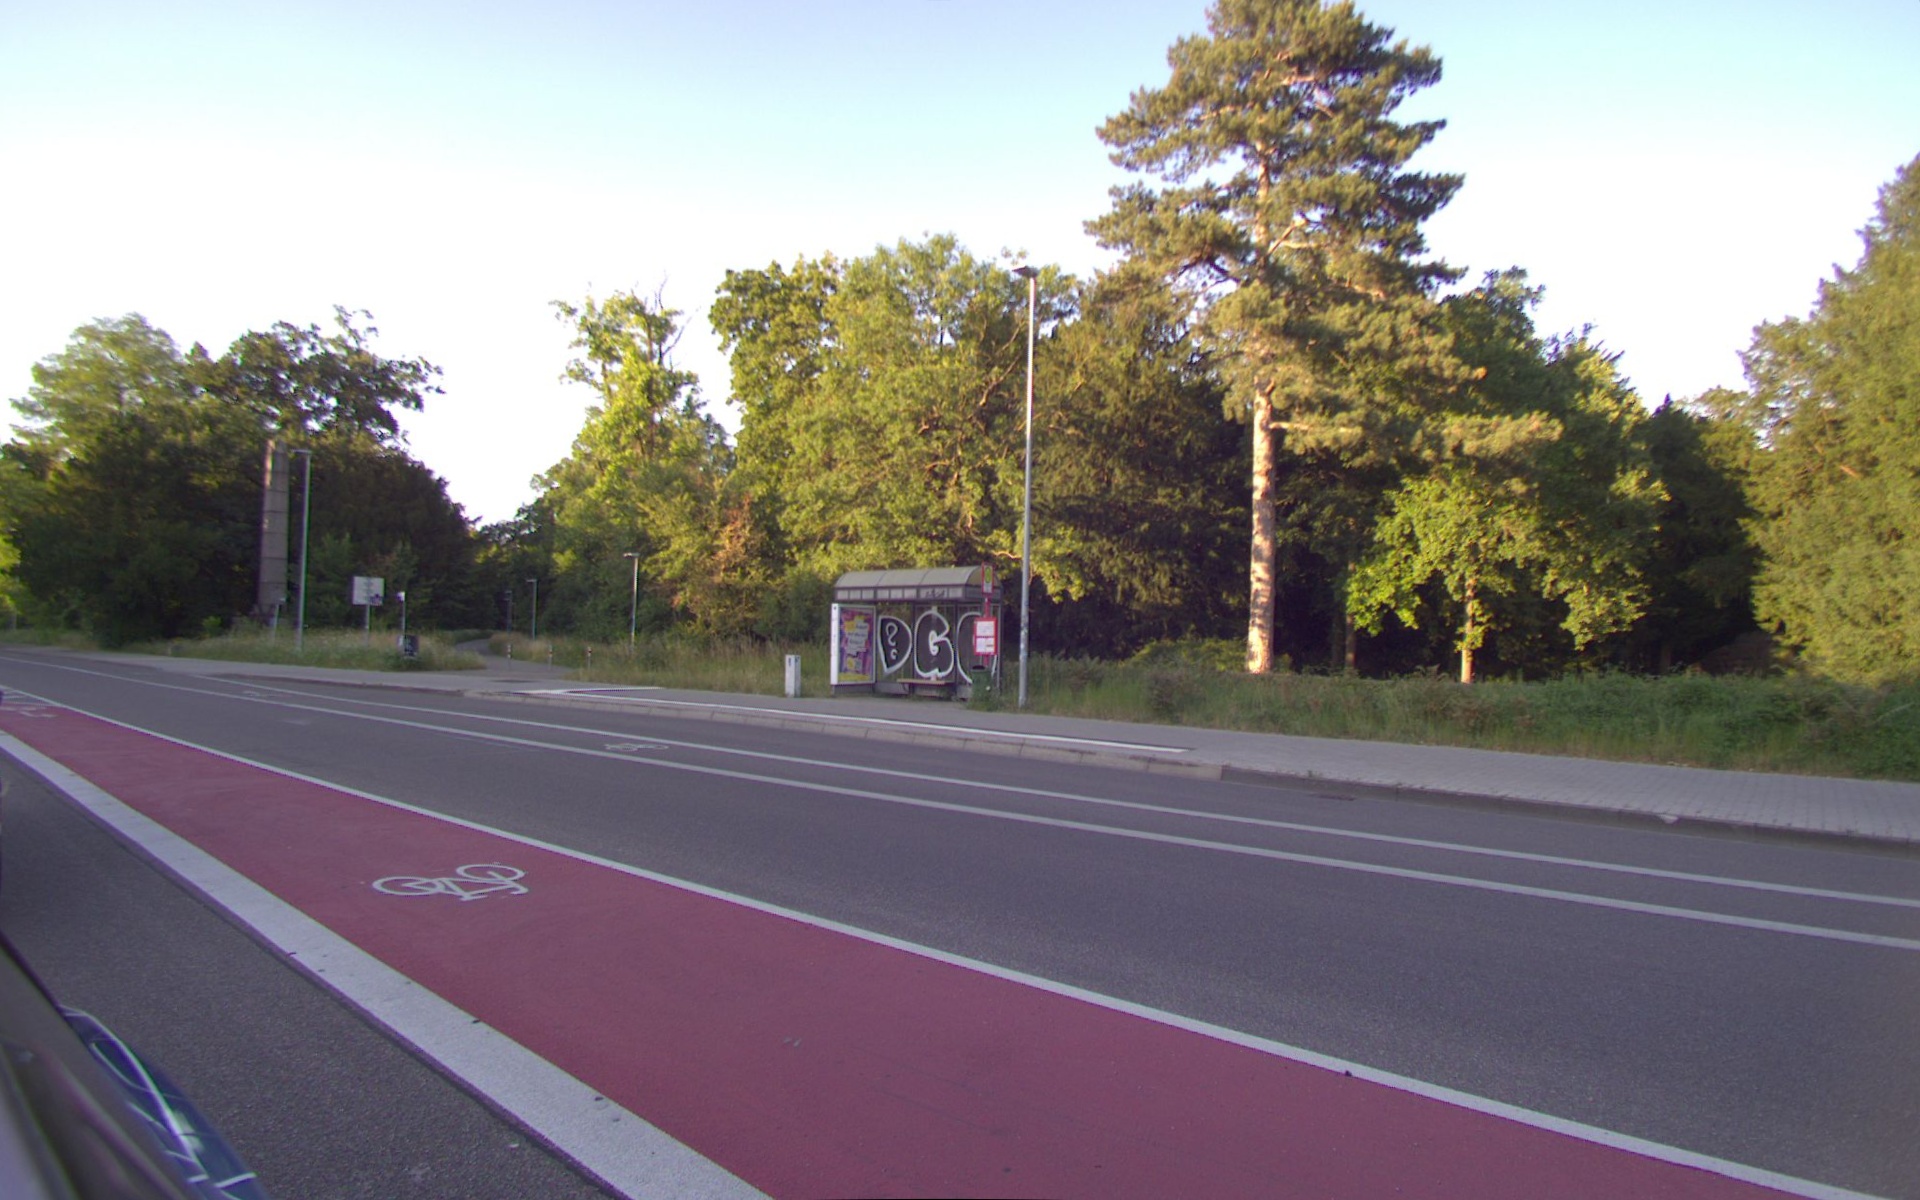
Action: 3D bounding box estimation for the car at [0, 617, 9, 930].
[{"bbox_3d":[-6.881,0.830,5.532,5.208,1.410,1.795,-1,0,39],"label":"car"}]
